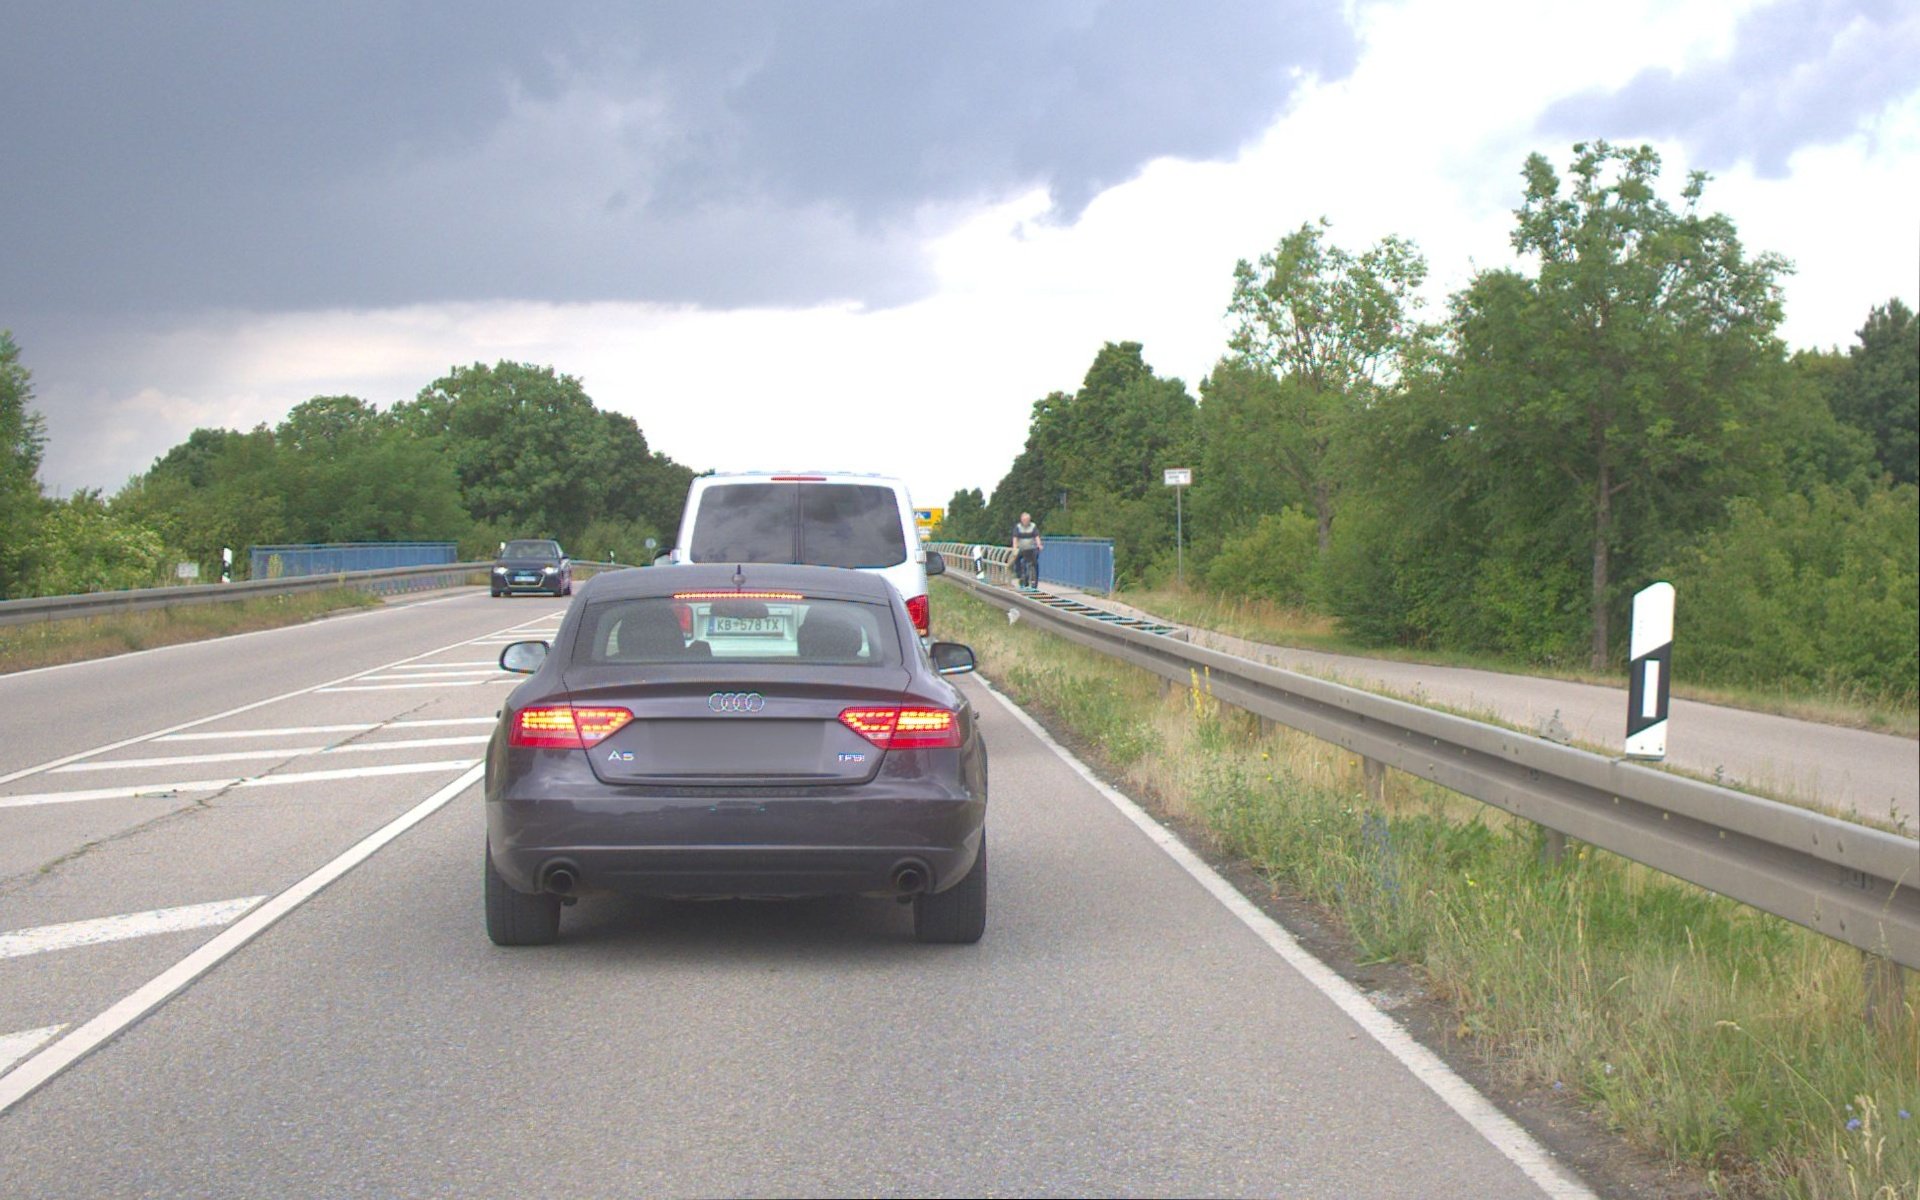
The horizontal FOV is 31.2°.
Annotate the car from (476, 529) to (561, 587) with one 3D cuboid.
[{"bbox_3d":[-10.892,-1.046,85.054,1.862,1.371,4.001,0,1,-4],"label":"car"}]

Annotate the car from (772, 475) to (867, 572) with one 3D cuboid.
[{"bbox_3d":[-3.723,-2.038,91.863,2.447,2.495,5.042,1,1,-2],"label":"car"}]

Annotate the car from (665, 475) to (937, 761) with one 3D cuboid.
[{"bbox_3d":[-1.137,0.102,24.819,1.785,1.883,4.000,1,1,-2],"label":"car"}]

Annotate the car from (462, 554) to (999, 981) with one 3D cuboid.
[{"bbox_3d":[-0.847,0.545,13.528,1.785,1.419,4.000,1,1,-2],"label":"car"}]

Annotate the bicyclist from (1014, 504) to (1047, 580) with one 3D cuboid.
[{"bbox_3d":[1.539,-1.258,74.807,0.647,1.639,0.866,-1,1,-2],"label":"bicyclist"}]

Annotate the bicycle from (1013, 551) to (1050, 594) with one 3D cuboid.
[{"bbox_3d":[1.548,-0.611,74.735,0.666,0.917,1.830,-1,1,-2],"label":"bicycle"}]
